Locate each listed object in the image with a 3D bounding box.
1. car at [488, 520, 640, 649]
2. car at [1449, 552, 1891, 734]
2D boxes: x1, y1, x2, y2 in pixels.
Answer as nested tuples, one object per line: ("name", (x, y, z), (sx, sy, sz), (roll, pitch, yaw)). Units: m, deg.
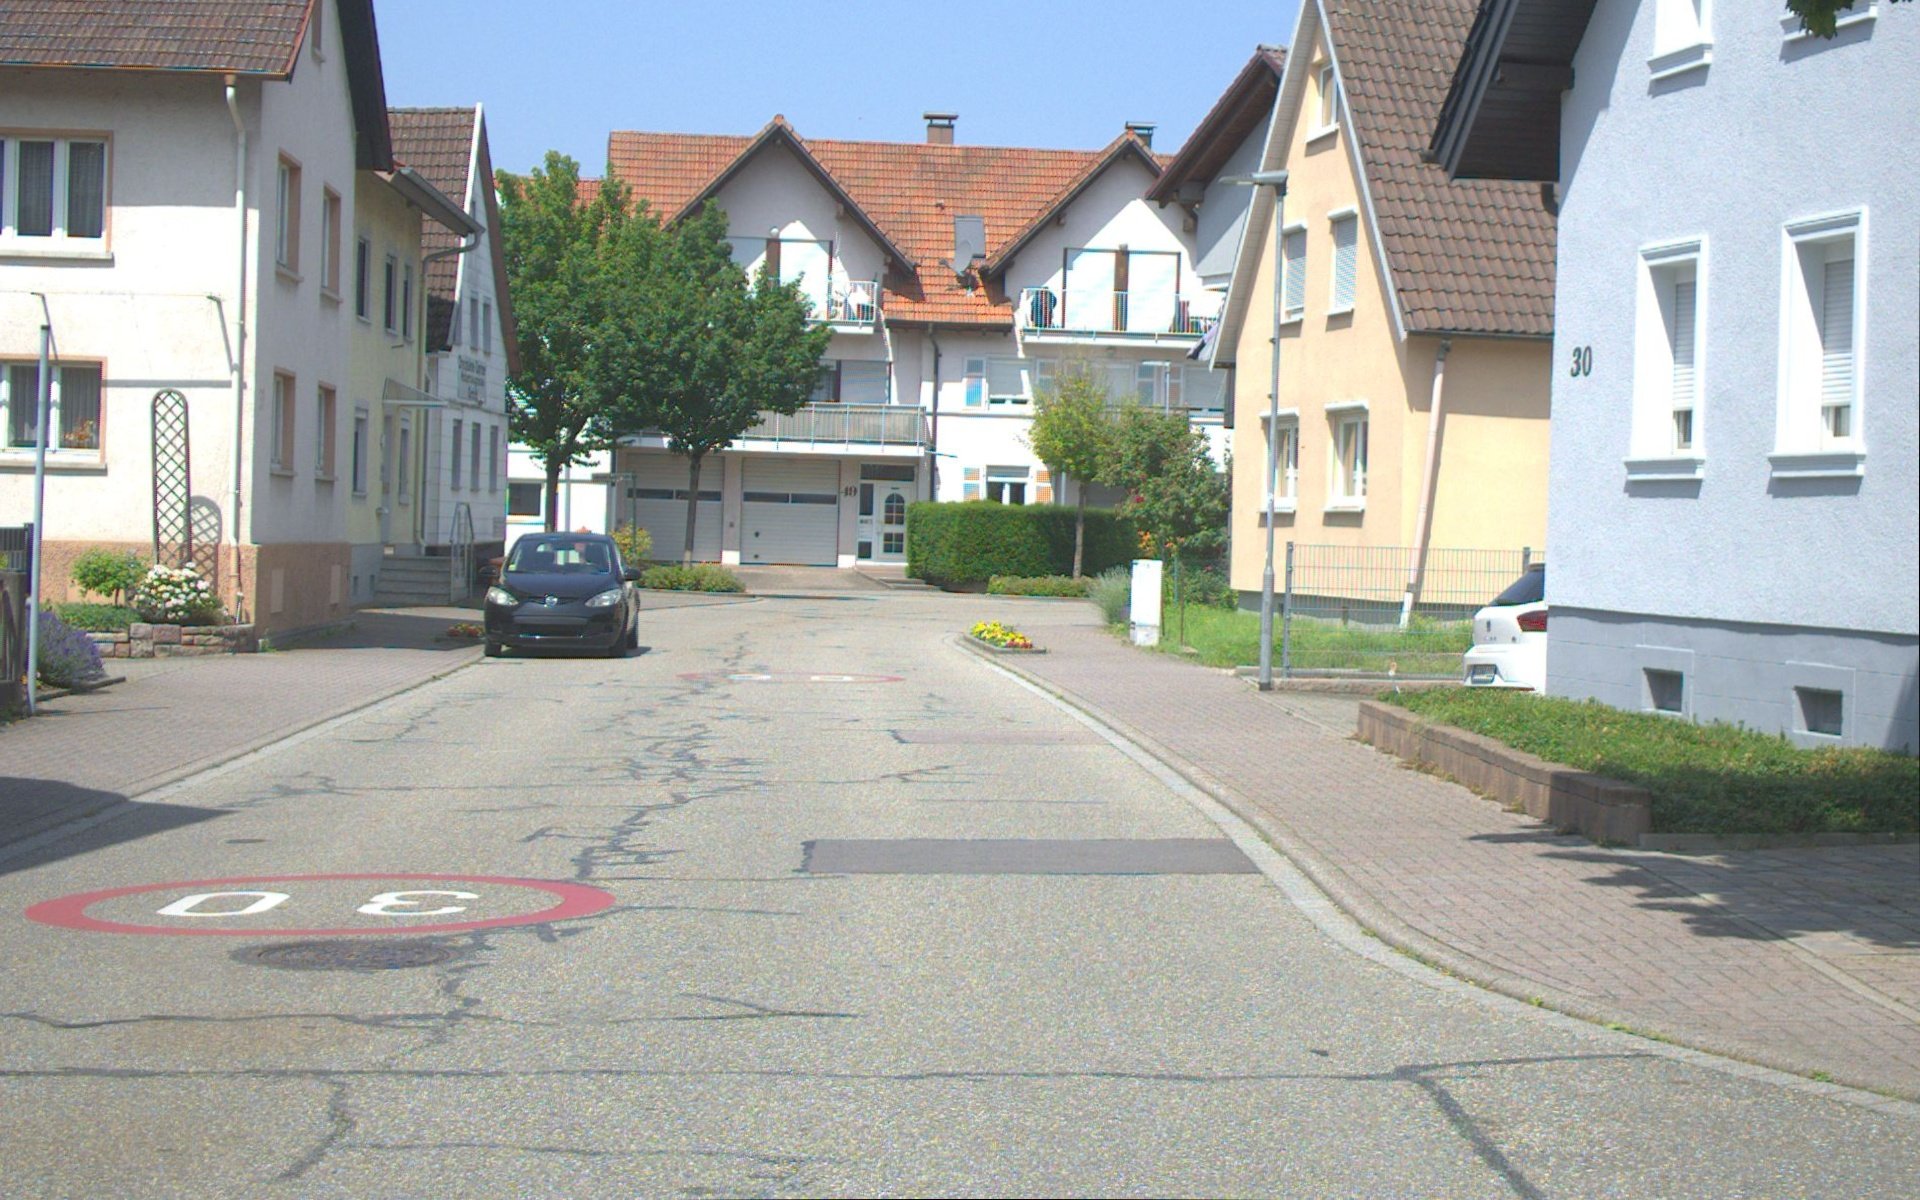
("car", (-4.783, -0.228, 41.913), (1.626, 1.481, 4.001), (1, 1, -4))
("car", (5.490, 0.328, 26.730), (3.042, 1.341, 1.423), (1, 0, -9))
